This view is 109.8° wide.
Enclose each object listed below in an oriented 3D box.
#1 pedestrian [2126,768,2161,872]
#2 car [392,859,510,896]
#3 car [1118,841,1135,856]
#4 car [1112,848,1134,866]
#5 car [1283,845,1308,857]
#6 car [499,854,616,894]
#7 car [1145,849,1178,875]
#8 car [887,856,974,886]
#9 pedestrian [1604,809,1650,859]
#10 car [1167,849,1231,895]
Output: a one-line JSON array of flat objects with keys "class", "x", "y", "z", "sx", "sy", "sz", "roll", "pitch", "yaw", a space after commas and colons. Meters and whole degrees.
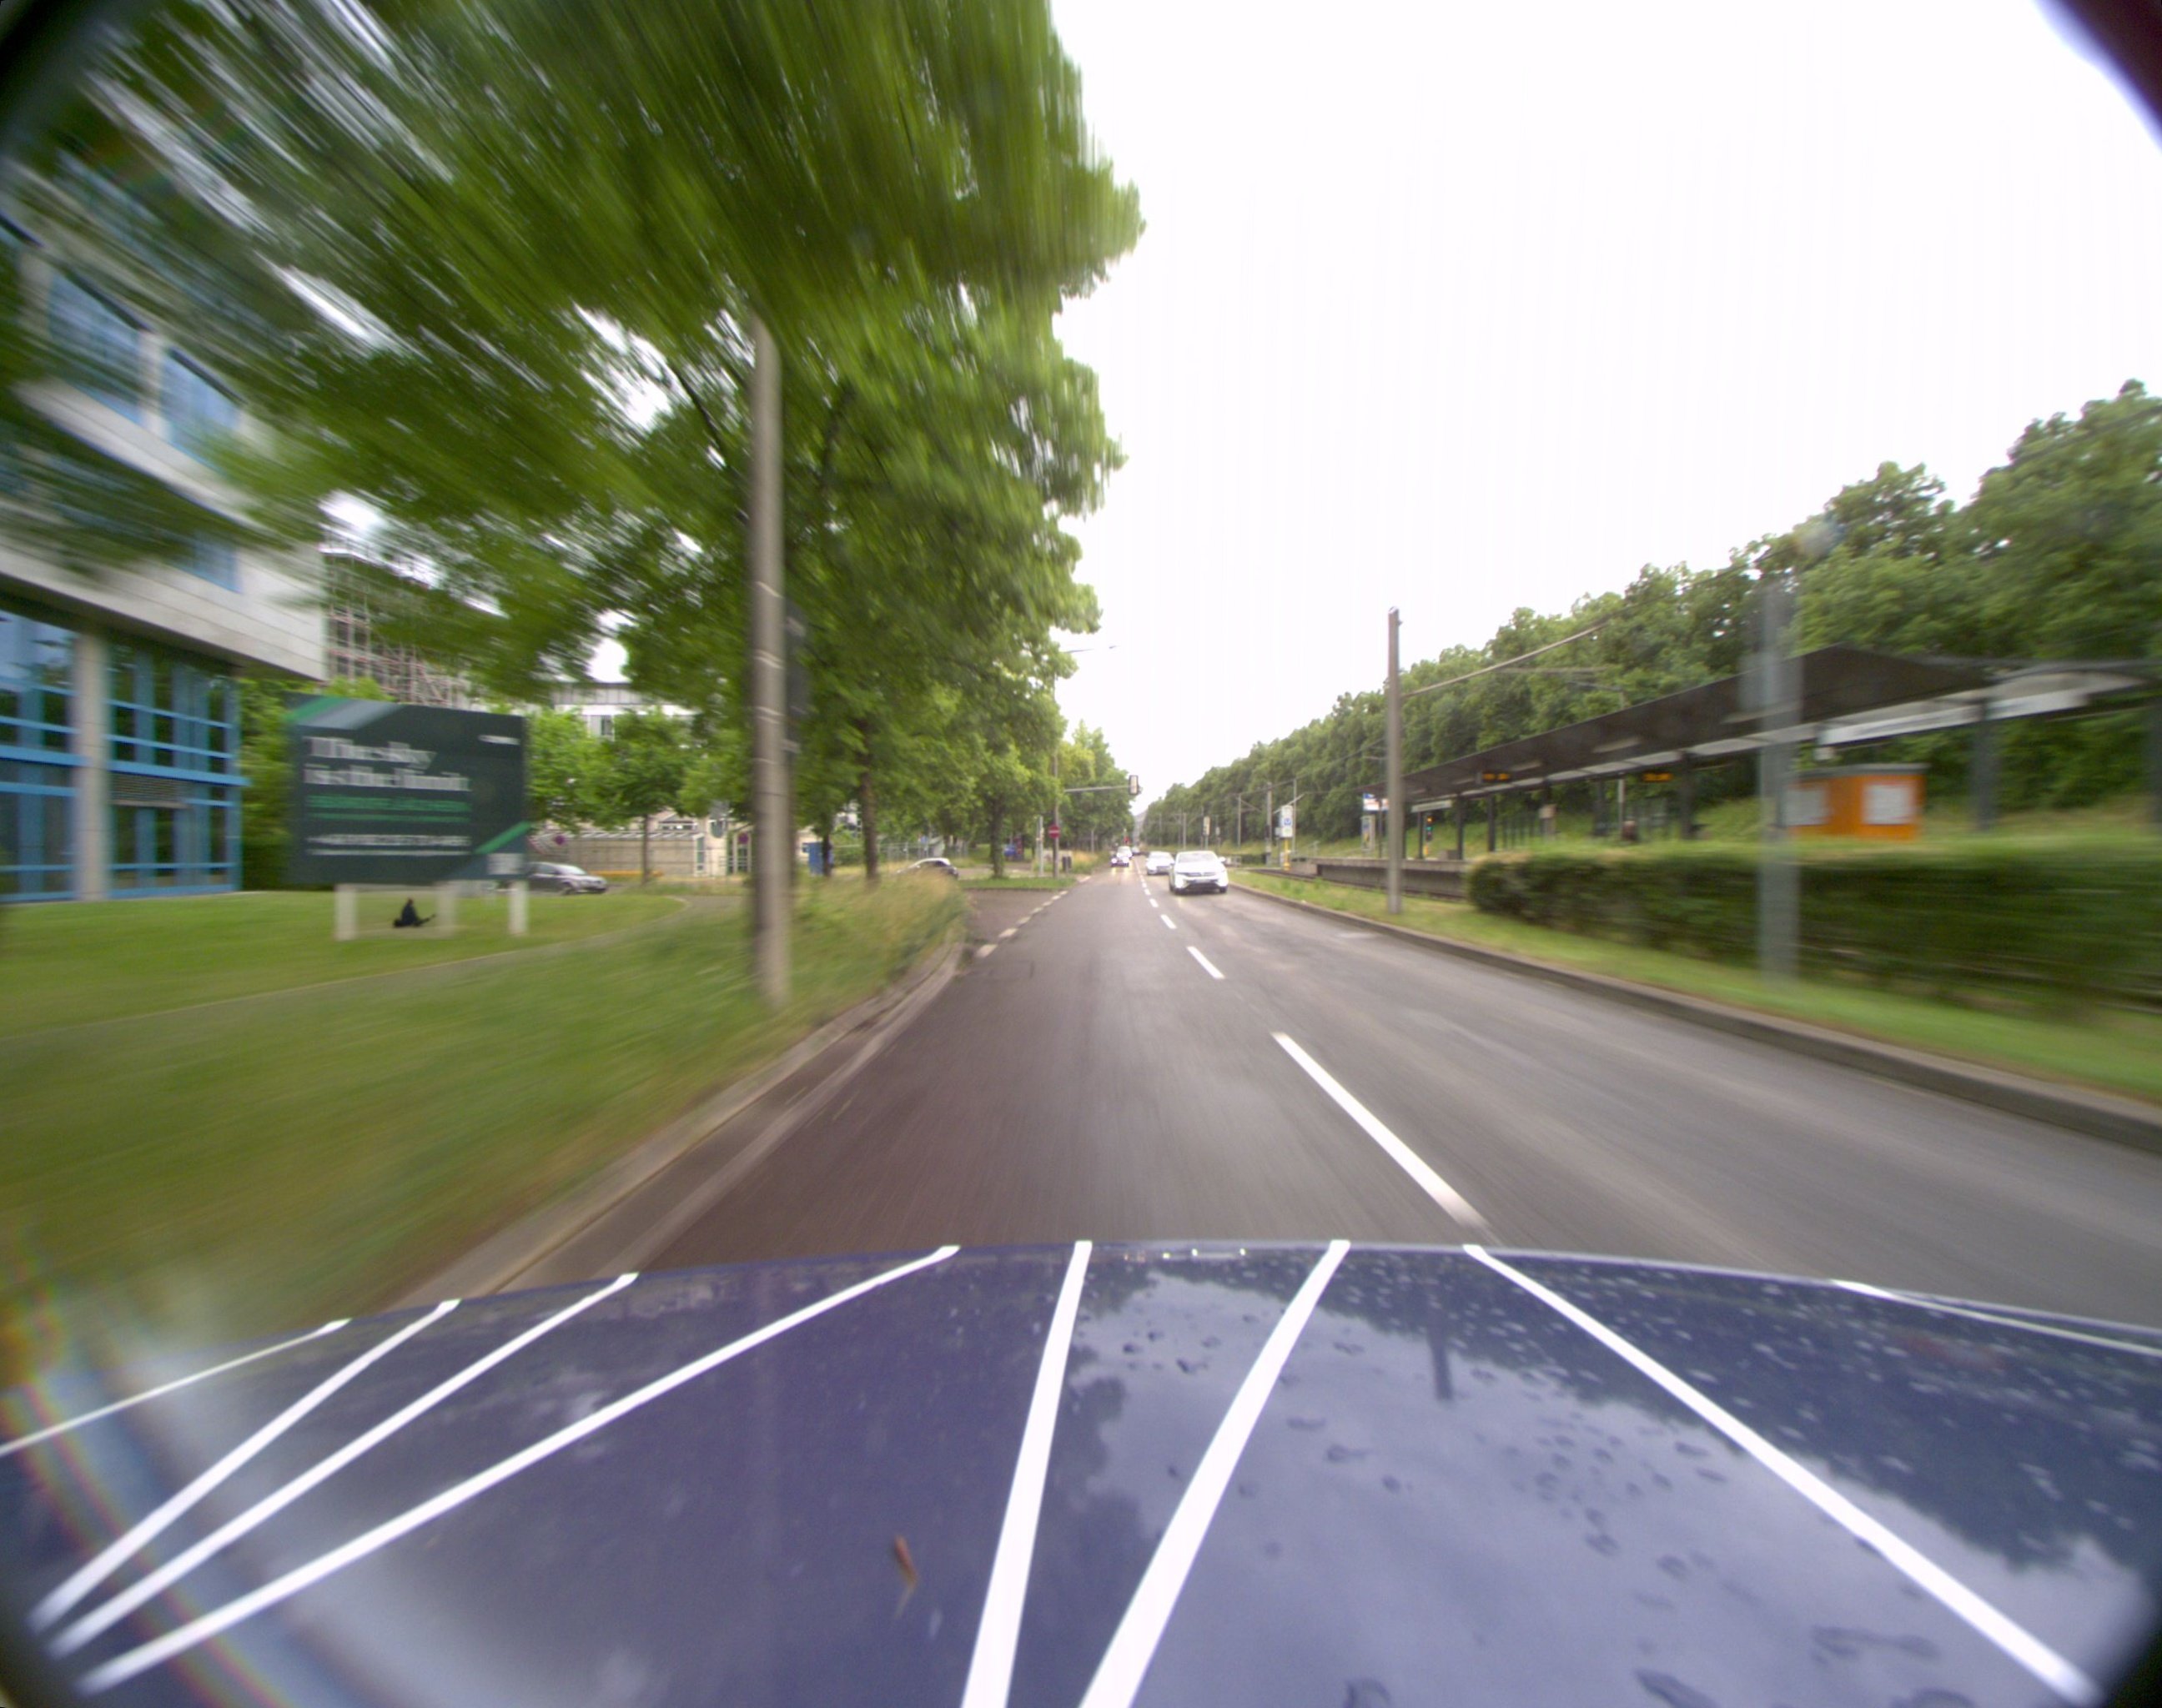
[{"class": "pedestrian", "x": 17.206, "y": -0.532, "z": 11.651, "sx": 0.937, "sy": 1.602, "sz": 1.027, "roll": -1, "pitch": 1, "yaw": 3}, {"class": "car", "x": -28.039, "y": 1.034, "z": 33.890, "sx": 4.104, "sy": 1.569, "sz": 1.759, "roll": -1, "pitch": -1, "yaw": 9}, {"class": "car", "x": 6.351, "y": -0.755, "z": 107.071, "sx": 1.960, "sy": 1.914, "sz": 4.844, "roll": -3, "pitch": 1, "yaw": 0}, {"class": "car", "x": 4.057, "y": 0.276, "z": 73.043, "sx": 1.959, "sy": 1.469, "sz": 4.700, "roll": -3, "pitch": 1, "yaw": 5}, {"class": "car", "x": 26.330, "y": -0.361, "z": 93.331, "sx": 1.800, "sy": 1.395, "sz": 3.999, "roll": -1, "pitch": 1, "yaw": -2}, {"class": "car", "x": -22.815, "y": 0.880, "z": 33.174, "sx": 4.104, "sy": 1.632, "sz": 1.759, "roll": -1, "pitch": -1, "yaw": 9}, {"class": "car", "x": 5.191, "y": 0.458, "z": 49.617, "sx": 1.959, "sy": 1.472, "sz": 4.700, "roll": -3, "pitch": 1, "yaw": 4}, {"class": "car", "x": -8.264, "y": 0.891, "z": 41.708, "sx": 4.433, "sy": 1.425, "sz": 1.708, "roll": -2, "pitch": 1, "yaw": -23}, {"class": "pedestrian", "x": 14.874, "y": -0.542, "z": 20.727, "sx": 0.754, "sy": 1.348, "sz": 0.692, "roll": -1, "pitch": 1, "yaw": 0}, {"class": "car", "x": 4.209, "y": 0.597, "z": 27.656, "sx": 1.959, "sy": 1.457, "sz": 4.700, "roll": -1, "pitch": 1, "yaw": 5}]
